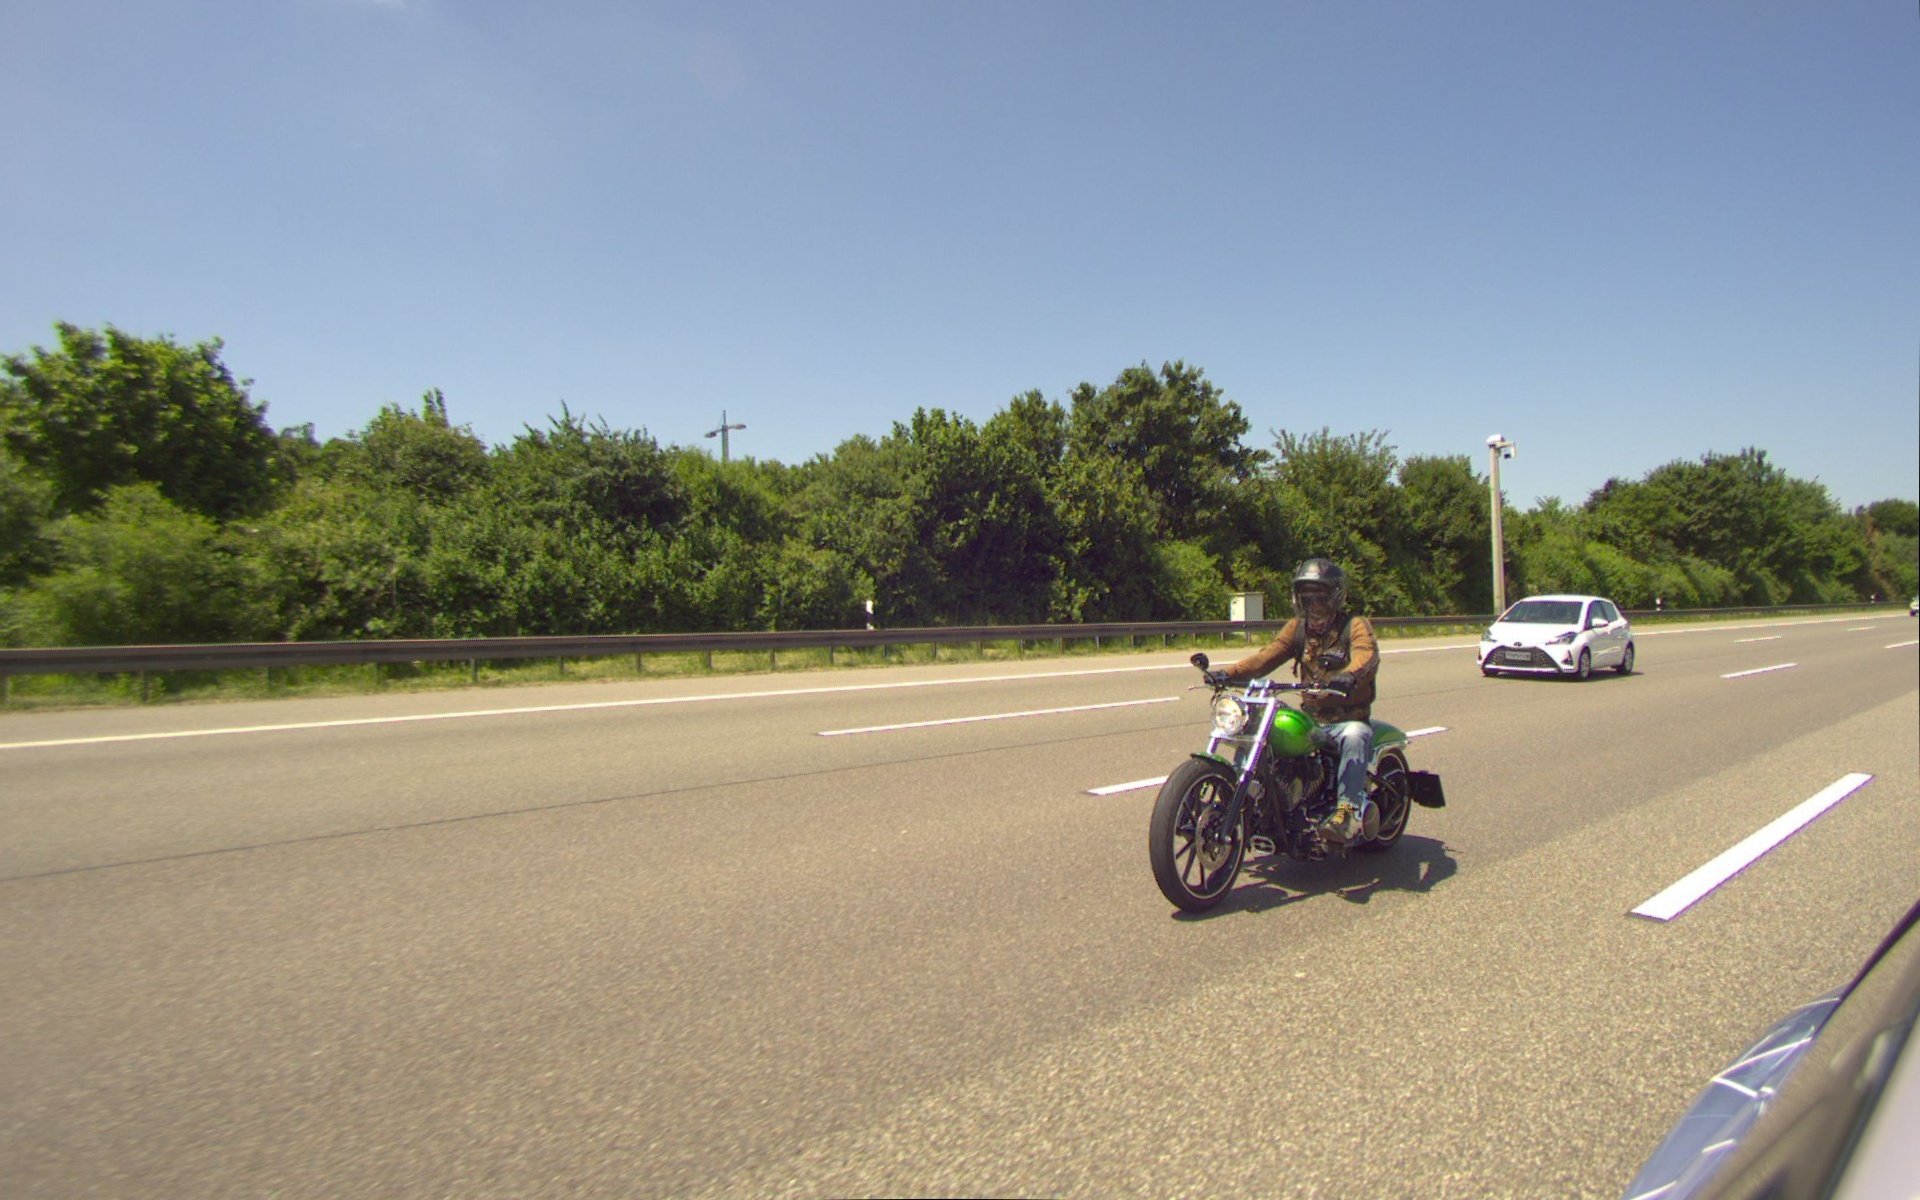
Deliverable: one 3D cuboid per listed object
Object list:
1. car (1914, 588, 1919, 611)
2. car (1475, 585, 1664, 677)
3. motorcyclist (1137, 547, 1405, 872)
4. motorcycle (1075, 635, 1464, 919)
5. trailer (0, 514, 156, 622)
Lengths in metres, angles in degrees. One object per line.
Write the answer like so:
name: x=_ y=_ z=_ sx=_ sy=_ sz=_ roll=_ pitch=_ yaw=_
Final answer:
car: x=66.184 y=-0.064 z=68.306 sx=3.927 sy=1.549 sz=1.999 roll=-2 pitch=1 yaw=-38
car: x=11.513 y=0.504 z=19.000 sx=4.405 sy=1.538 sz=1.753 roll=0 pitch=0 yaw=-40
motorcyclist: x=1.572 y=0.478 z=5.142 sx=1.003 sy=1.445 sz=0.856 roll=0 pitch=1 yaw=-34
motorcycle: x=1.689 y=0.794 z=5.251 sx=2.389 sy=1.150 sz=0.537 roll=0 pitch=1 yaw=-34
trailer: x=-33.742 y=-1.023 z=33.479 sx=2.462 sy=3.659 sz=13.347 roll=-2 pitch=1 yaw=6
